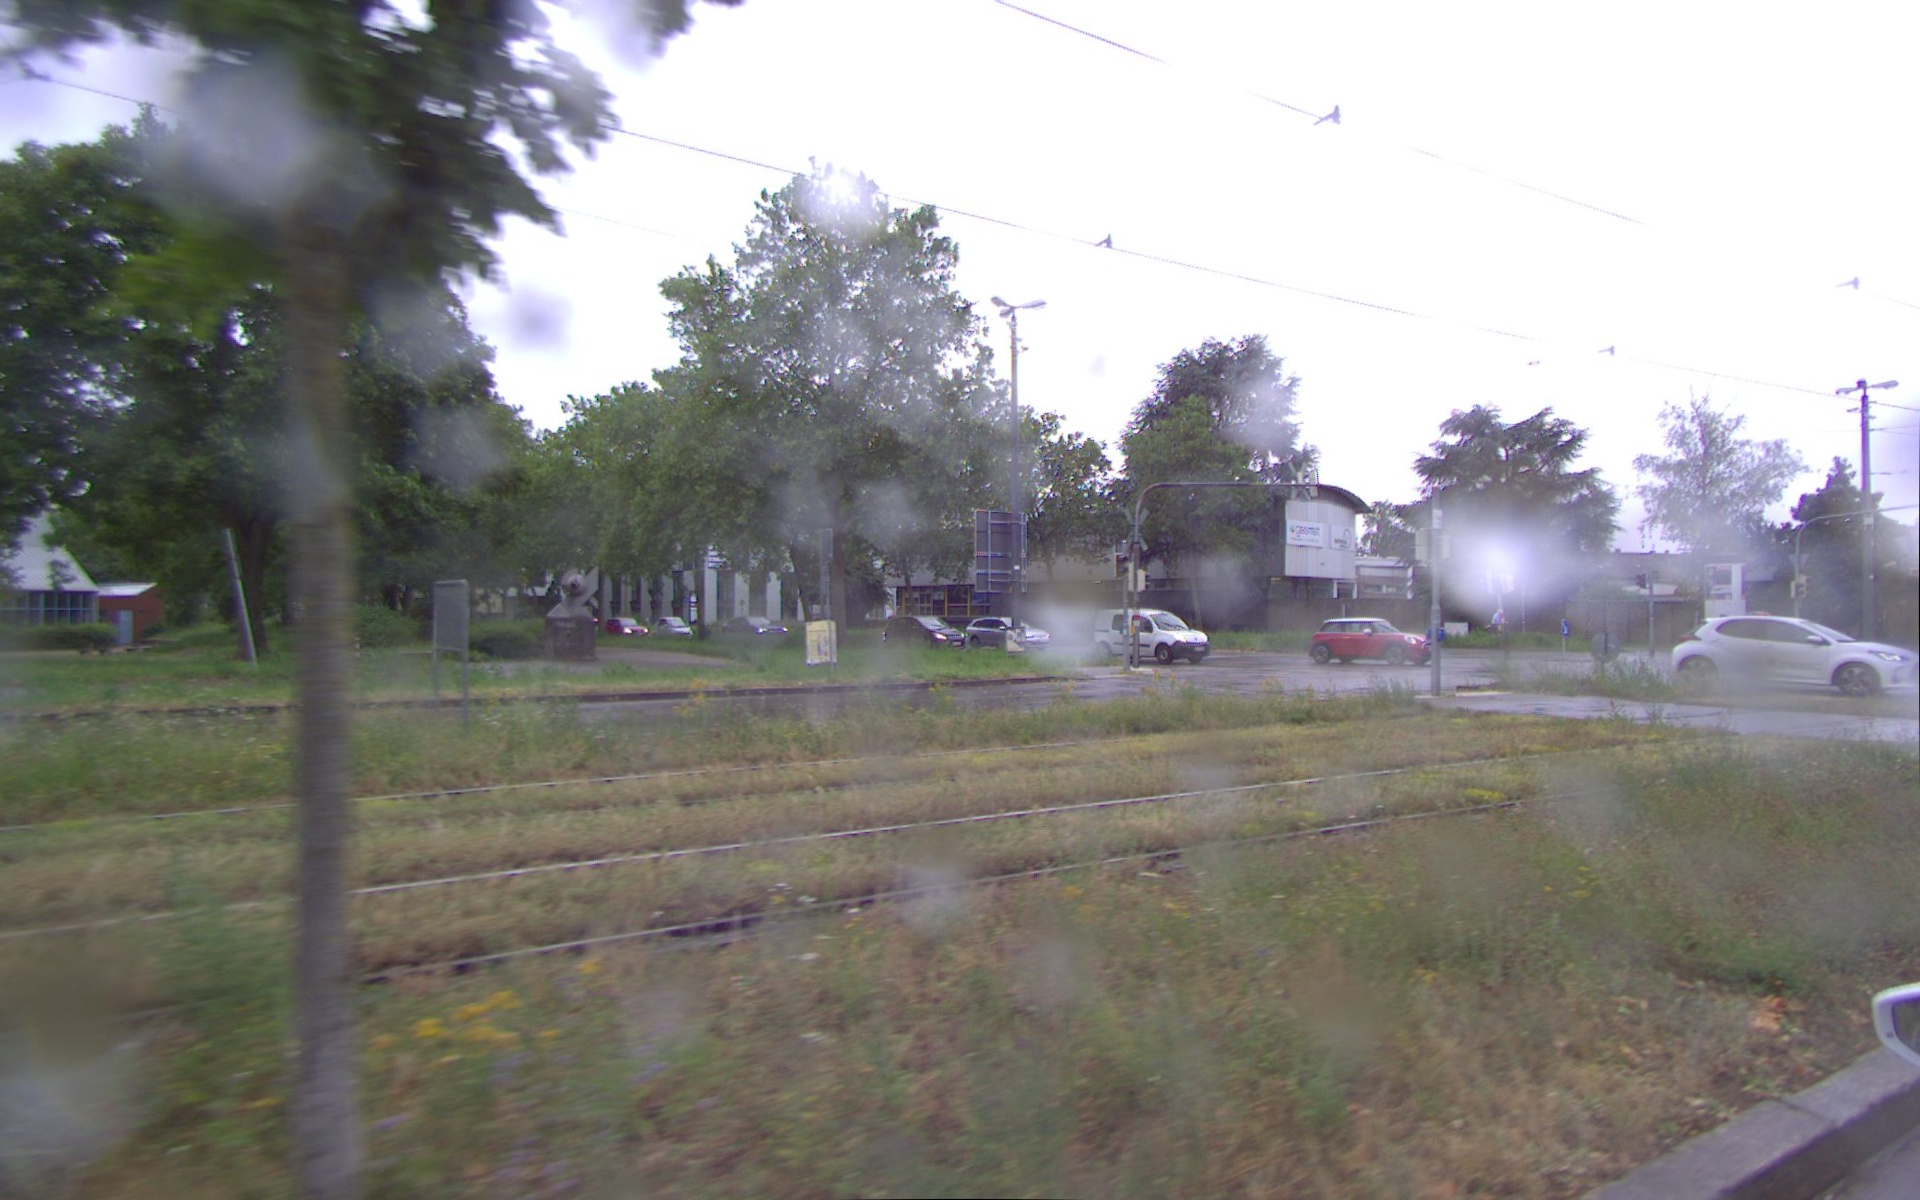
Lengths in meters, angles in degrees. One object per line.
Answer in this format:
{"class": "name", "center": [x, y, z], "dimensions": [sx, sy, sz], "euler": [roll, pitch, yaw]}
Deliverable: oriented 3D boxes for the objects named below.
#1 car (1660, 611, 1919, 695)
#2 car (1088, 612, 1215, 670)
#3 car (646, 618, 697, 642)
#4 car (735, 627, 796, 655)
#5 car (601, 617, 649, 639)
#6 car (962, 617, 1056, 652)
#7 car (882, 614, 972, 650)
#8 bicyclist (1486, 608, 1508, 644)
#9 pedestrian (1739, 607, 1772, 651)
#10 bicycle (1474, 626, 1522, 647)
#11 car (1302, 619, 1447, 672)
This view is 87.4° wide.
{"class": "car", "center": [16.840, 1.017, 20.378], "dimensions": [1.636, 1.518, 4.038], "euler": [1, -2, -36]}
{"class": "car", "center": [6.402, 1.319, 33.921], "dimensions": [1.637, 1.820, 4.177], "euler": [0, 0, -38]}
{"class": "car", "center": [-17.930, 1.860, 62.281], "dimensions": [1.639, 1.413, 3.784], "euler": [2, -2, -40]}
{"class": "car", "center": [-10.588, 2.200, 54.478], "dimensions": [1.639, 1.413, 3.784], "euler": [2, -2, -40]}
{"class": "car", "center": [-21.692, 1.819, 65.015], "dimensions": [1.639, 1.413, 3.784], "euler": [2, -2, -40]}
{"class": "car", "center": [2.124, 1.519, 44.514], "dimensions": [1.639, 1.475, 4.319], "euler": [2, -2, -40]}
{"class": "car", "center": [-1.486, 1.374, 43.727], "dimensions": [1.639, 1.475, 4.319], "euler": [2, -2, -40]}
{"class": "bicyclist", "center": [25.565, 1.257, 47.832], "dimensions": [0.635, 1.705, 0.680], "euler": [1, -2, -33]}
{"class": "pedestrian", "center": [32.884, 1.212, 41.540], "dimensions": [0.787, 1.787, 0.909], "euler": [0, -1, 16]}
{"class": "bicycle", "center": [25.584, 1.746, 47.765], "dimensions": [0.635, 0.979, 1.947], "euler": [1, -2, -32]}
{"class": "car", "center": [12.909, 1.368, 31.437], "dimensions": [1.639, 1.519, 3.873], "euler": [0, 0, -41]}
